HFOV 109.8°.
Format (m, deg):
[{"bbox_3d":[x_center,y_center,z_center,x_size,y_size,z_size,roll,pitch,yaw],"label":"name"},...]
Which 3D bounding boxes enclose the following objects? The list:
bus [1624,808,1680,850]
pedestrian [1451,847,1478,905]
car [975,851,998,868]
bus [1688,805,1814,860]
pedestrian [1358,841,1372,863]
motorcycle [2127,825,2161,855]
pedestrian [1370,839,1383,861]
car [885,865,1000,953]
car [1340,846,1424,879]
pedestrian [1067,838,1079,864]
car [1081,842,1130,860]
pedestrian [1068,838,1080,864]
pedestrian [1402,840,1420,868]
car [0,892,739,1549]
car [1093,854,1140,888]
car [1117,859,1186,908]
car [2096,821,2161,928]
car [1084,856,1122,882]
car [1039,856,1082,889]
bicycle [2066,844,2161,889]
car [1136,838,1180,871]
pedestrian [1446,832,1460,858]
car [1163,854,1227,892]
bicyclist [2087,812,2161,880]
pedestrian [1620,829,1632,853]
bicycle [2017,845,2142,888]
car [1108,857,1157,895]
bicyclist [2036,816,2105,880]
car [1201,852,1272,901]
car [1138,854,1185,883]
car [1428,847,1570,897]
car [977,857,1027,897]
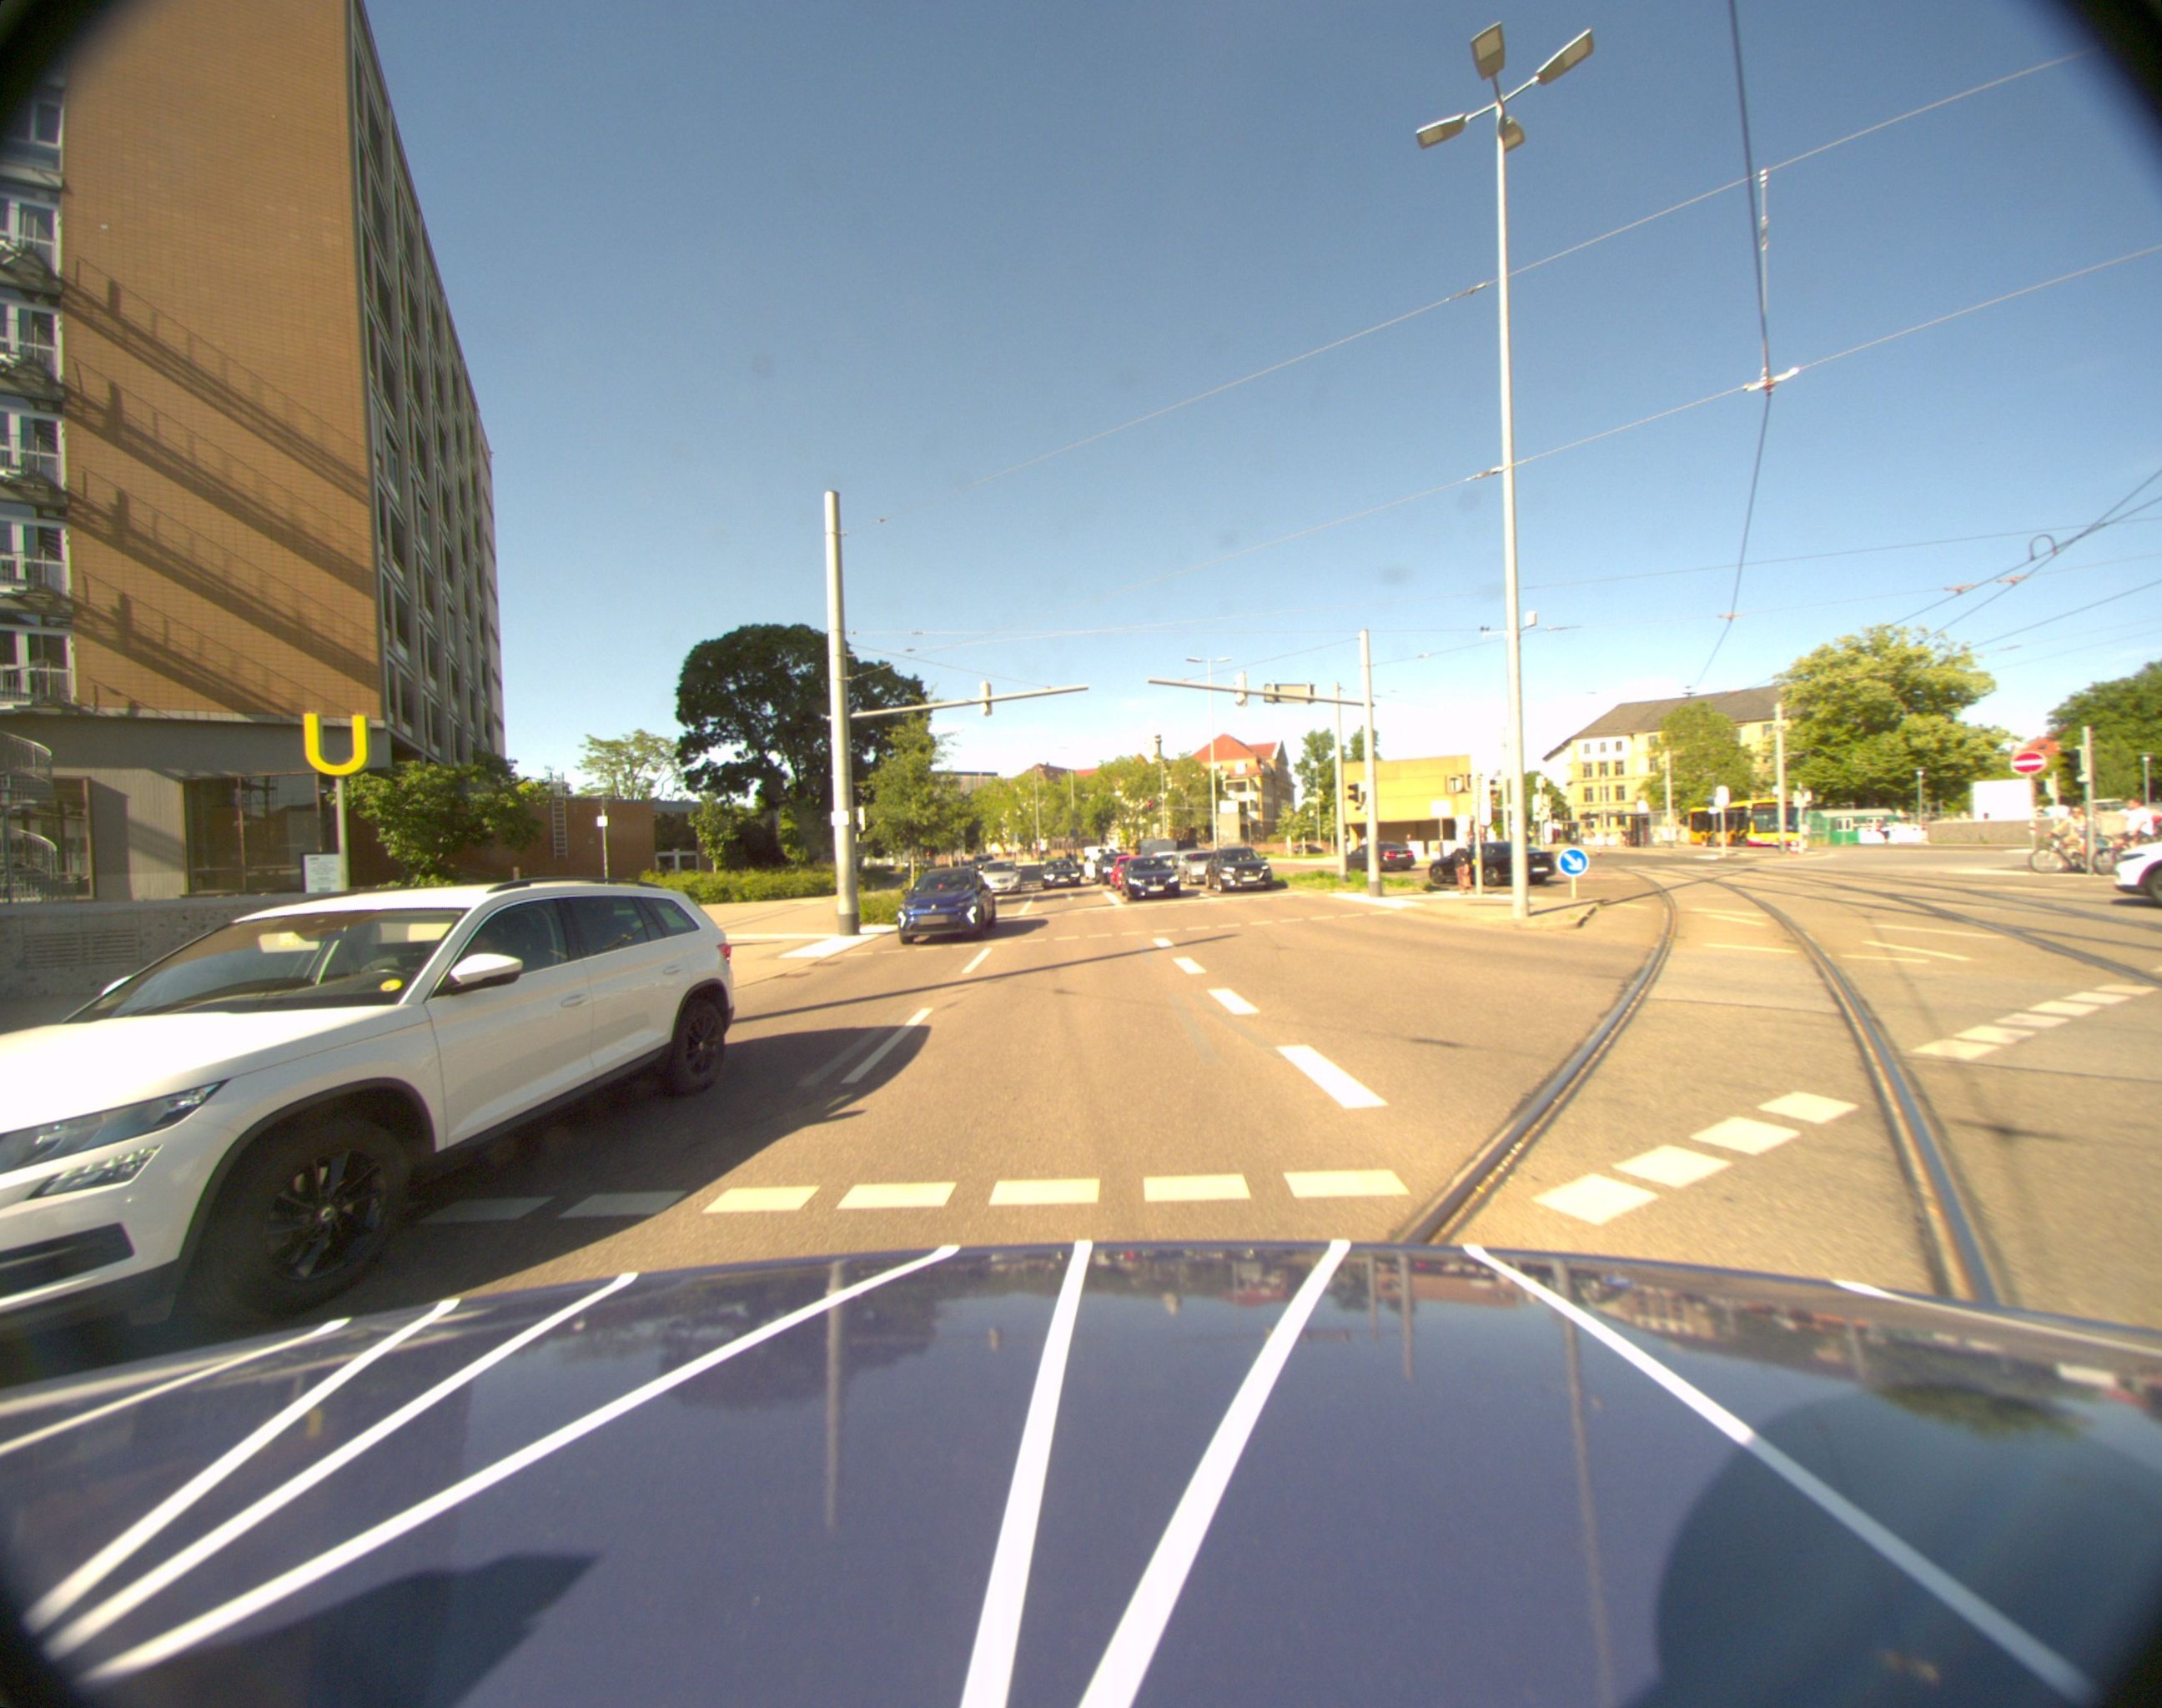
[{"bbox_3d":[46.027,-1.921,61.418,2.136,3.028,8.573,-3,-1,28],"label":"bus"},{"bbox_3d":[10.496,0.593,20.802,0.372,1.547,0.645,-4,1,7],"label":"pedestrian"},{"bbox_3d":[-8.691,0.490,69.773,1.922,1.450,4.665,-4,0,-9],"label":"car"},{"bbox_3d":[43.979,-1.571,50.410,2.844,3.104,11.834,-4,2,24],"label":"bus"},{"bbox_3d":[22.425,-0.157,60.003,0.748,1.702,0.703,-3,1,39],"label":"pedestrian"},{"bbox_3d":[48.161,-0.647,33.678,2.101,1.246,0.535,-4,1,25],"label":"motorcycle"},{"bbox_3d":[22.966,-0.311,58.998,0.643,1.702,0.703,-3,1,39],"label":"pedestrian"},{"bbox_3d":[-3.060,1.157,17.589,1.886,1.620,4.012,-4,0,-1],"label":"car"},{"bbox_3d":[14.851,0.394,37.796,1.887,1.450,4.642,-3,0,-7],"label":"car"},{"bbox_3d":[-0.798,-0.281,72.431,0.876,2.421,0.889,-4,1,-7],"label":"pedestrian"},{"bbox_3d":[2.886,-0.345,89.074,5.228,1.793,2.412,-4,1,15],"label":"car"},{"bbox_3d":[-0.621,-0.276,71.267,0.876,2.406,0.889,-4,1,-7],"label":"pedestrian"},{"bbox_3d":[21.777,-0.008,50.151,0.857,1.818,0.703,-3,1,34],"label":"pedestrian"},{"bbox_3d":[-3.865,1.149,4.184,1.869,1.635,4.397,-4,-1,0],"label":"car"},{"bbox_3d":[1.759,0.844,39.168,1.760,1.526,4.119,-4,0,-6],"label":"car"},{"bbox_3d":[2.403,0.974,26.786,1.886,1.450,4.012,-4,0,-1],"label":"car"},{"bbox_3d":[17.973,0.266,10.337,2.005,1.631,4.559,-2,0,-16],"label":"car"},{"bbox_3d":[1.318,0.880,46.925,1.760,1.447,4.119,-4,0,-6],"label":"car"},{"bbox_3d":[-1.090,0.895,38.920,1.921,1.450,3.864,-4,0,-5],"label":"car"},{"bbox_3d":[25.042,0.293,18.112,2.475,0.984,0.616,-2,1,-3],"label":"bicycle"},{"bbox_3d":[6.602,0.066,66.040,2.244,2.665,5.301,-4,0,-11],"label":"car"},{"bbox_3d":[31.141,-0.759,63.639,0.857,2.063,0.611,-3,1,34],"label":"pedestrian"},{"bbox_3d":[4.973,0.792,33.826,1.825,1.450,4.659,-4,0,-4],"label":"car"},{"bbox_3d":[24.852,-0.193,18.097,0.995,1.540,0.595,-3,1,-3],"label":"bicyclist"},{"bbox_3d":[44.695,-1.077,62.332,0.690,1.850,0.730,-3,1,29],"label":"pedestrian"},{"bbox_3d":[25.029,0.309,19.057,2.475,0.984,0.616,-2,1,-3],"label":"bicycle"},{"bbox_3d":[2.206,0.934,33.531,1.714,1.450,4.011,-4,0,-2],"label":"car"},{"bbox_3d":[24.805,-0.141,19.053,0.956,1.520,0.576,-4,1,-3],"label":"bicyclist"},{"bbox_3d":[5.522,0.739,27.387,1.686,1.523,3.914,-4,0,0],"label":"car"},{"bbox_3d":[4.544,0.799,43.543,1.825,1.450,4.659,-4,0,-4],"label":"car"},{"bbox_3d":[13.629,0.550,25.154,1.851,1.408,4.478,-3,0,-6],"label":"car"},{"bbox_3d":[-3.605,1.007,35.370,1.886,1.620,4.012,-4,0,-1],"label":"car"}]
